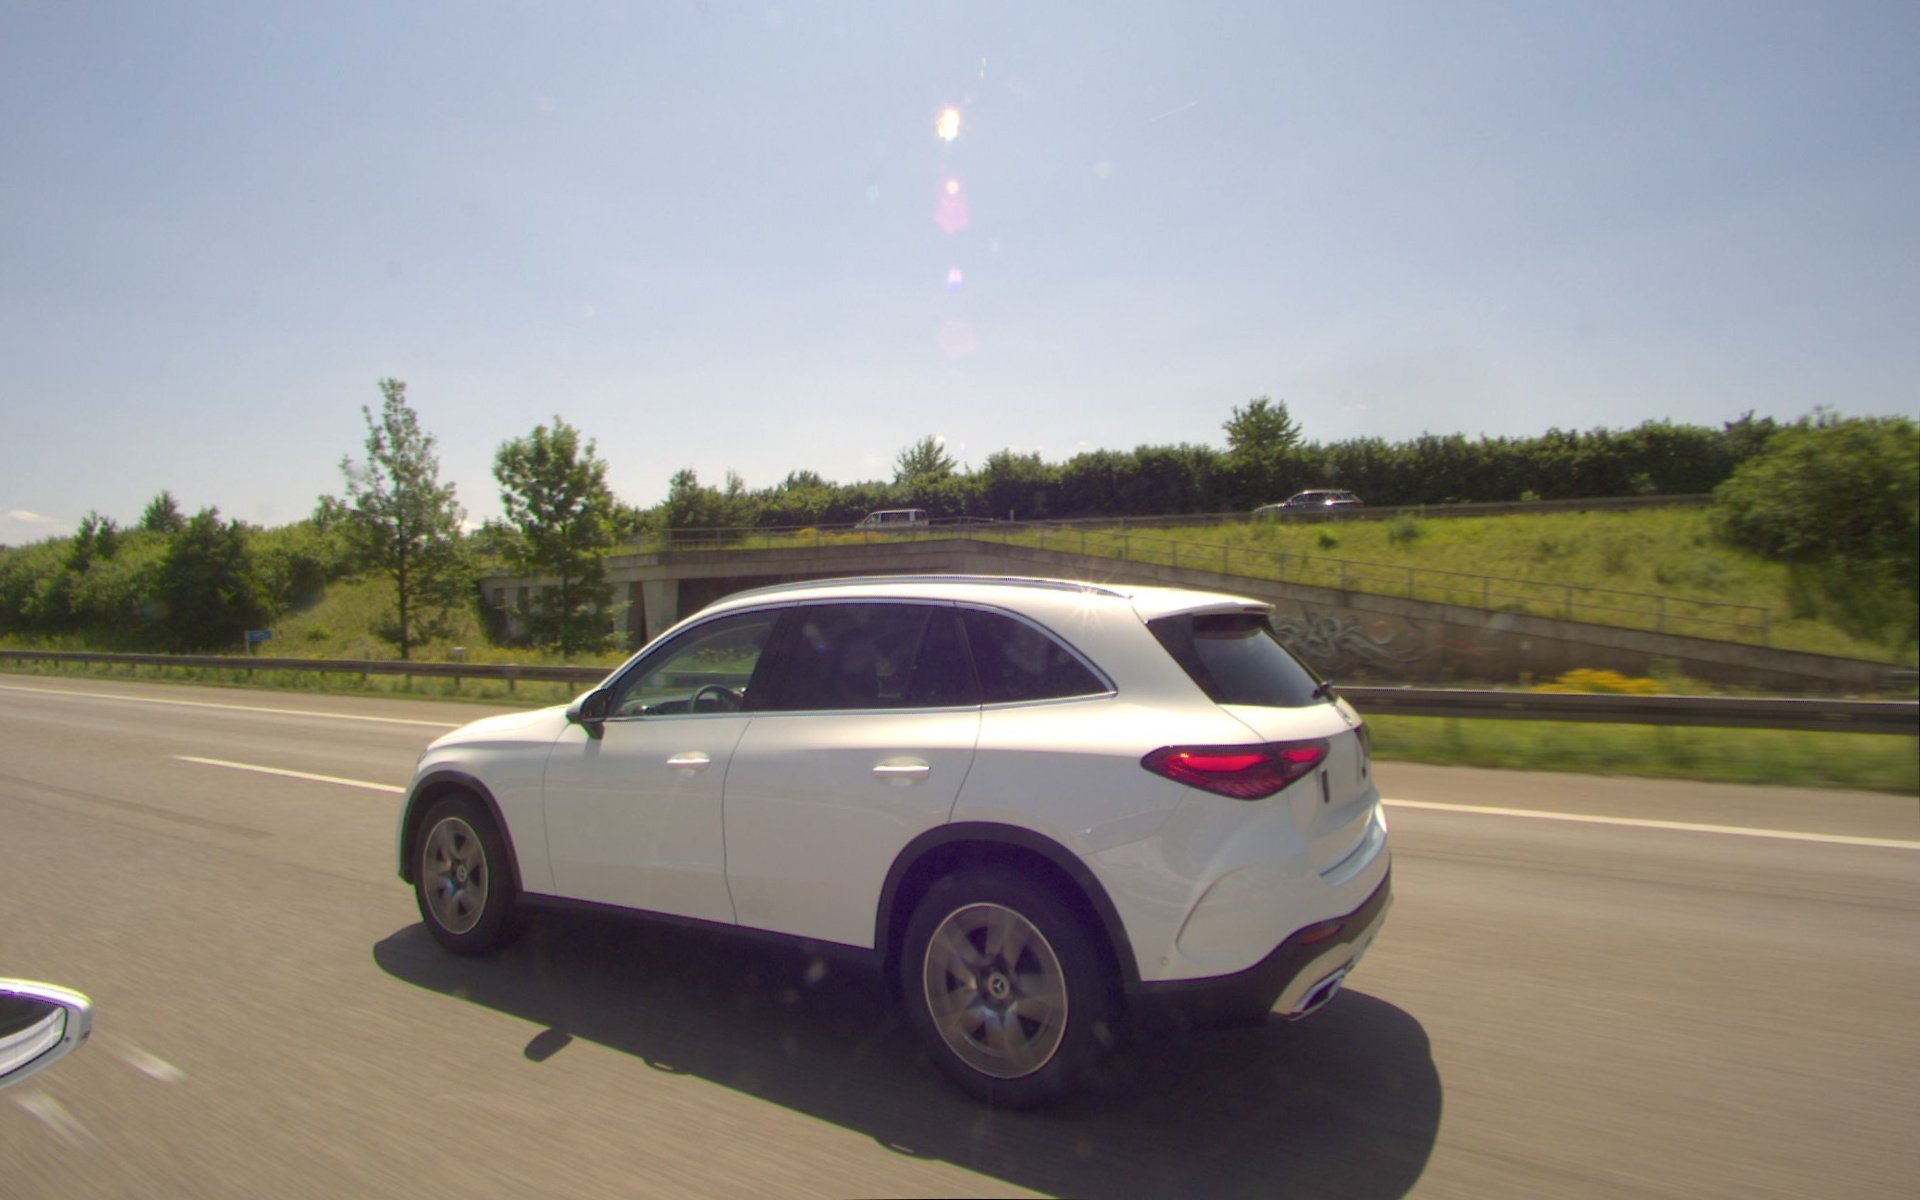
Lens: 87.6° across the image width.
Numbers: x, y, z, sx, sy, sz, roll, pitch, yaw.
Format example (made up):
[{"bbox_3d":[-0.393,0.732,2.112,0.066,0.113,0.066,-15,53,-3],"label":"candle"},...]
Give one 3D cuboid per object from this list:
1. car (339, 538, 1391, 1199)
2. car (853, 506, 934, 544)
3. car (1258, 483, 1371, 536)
[{"bbox_3d":[-0.642,0.734,4.555,4.569,1.677,1.901,-1,-1,32],"label":"car"},{"bbox_3d":[-3.995,-4.467,60.151,4.458,1.830,1.993,-1,-2,28],"label":"car"},{"bbox_3d":[15.842,-4.009,44.806,4.460,1.830,1.992,-2,-2,30],"label":"car"}]
